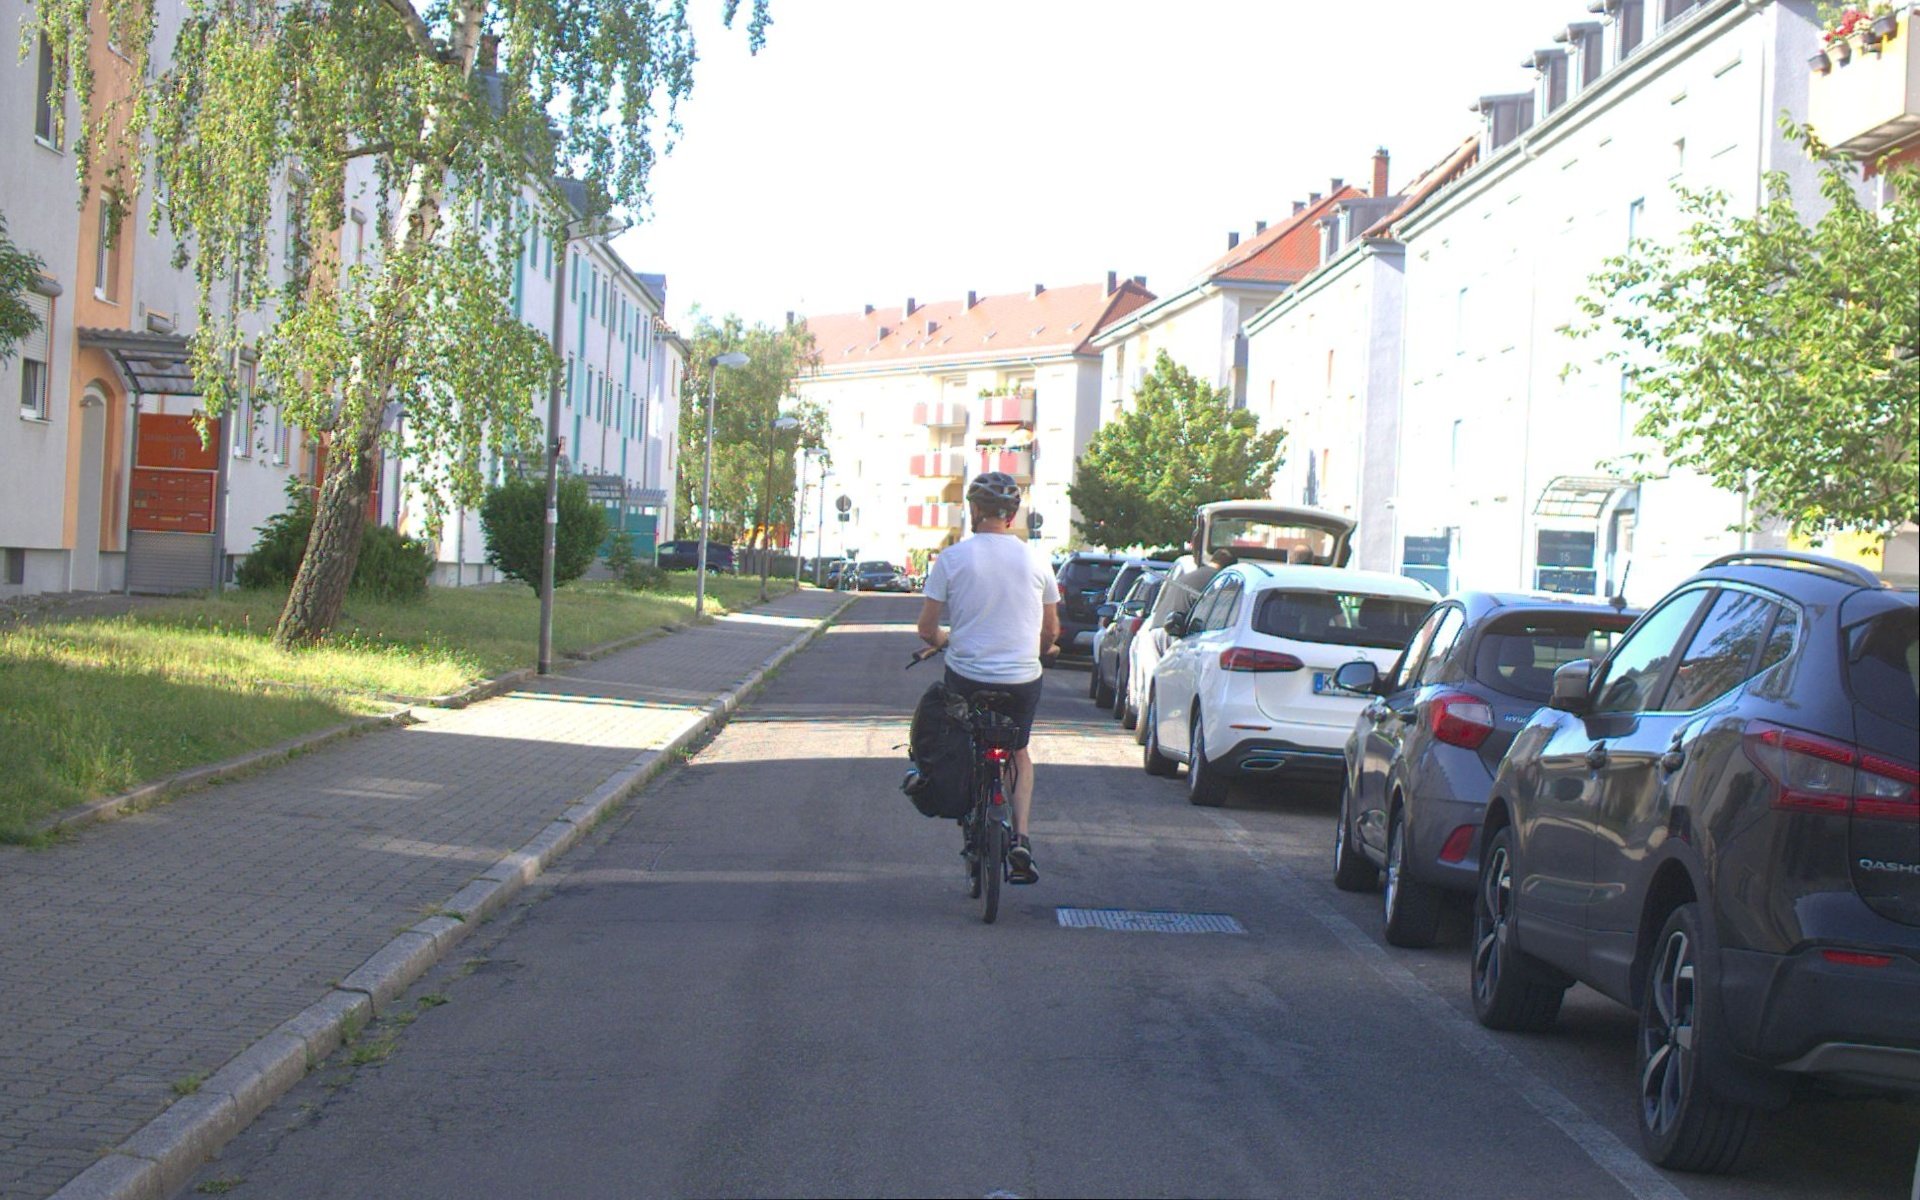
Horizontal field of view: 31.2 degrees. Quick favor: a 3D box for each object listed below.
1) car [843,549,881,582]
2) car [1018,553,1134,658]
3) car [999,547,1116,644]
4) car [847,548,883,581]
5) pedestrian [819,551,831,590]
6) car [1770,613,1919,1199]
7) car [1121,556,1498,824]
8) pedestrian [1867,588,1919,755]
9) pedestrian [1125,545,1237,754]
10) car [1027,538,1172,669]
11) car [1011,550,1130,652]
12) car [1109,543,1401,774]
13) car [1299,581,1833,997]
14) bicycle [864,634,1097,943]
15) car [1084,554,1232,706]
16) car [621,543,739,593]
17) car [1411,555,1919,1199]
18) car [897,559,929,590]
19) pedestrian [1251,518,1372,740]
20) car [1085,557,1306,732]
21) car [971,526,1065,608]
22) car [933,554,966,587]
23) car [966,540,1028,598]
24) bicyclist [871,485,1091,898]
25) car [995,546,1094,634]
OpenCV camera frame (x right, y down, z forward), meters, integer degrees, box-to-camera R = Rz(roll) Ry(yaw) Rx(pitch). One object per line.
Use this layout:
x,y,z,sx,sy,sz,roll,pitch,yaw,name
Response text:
-4.144,-1.476,144.970,1.469,1.331,3.141,2,1,-3,car
1.786,0.057,53.958,1.641,1.493,4.156,3,1,0,car
1.828,-0.112,65.617,1.750,1.612,4.452,5,1,-3,car
-4.150,-1.553,149.965,1.469,1.331,3.141,2,1,-3,car
-5.554,-1.220,141.758,0.434,1.569,0.543,2,0,-1,pedestrian
2.535,0.885,4.835,1.713,1.504,3.854,6,1,-2,car
2.214,0.516,22.967,1.772,1.499,4.481,4,1,-3,car
8.530,0.649,31.189,0.450,1.490,0.360,2,-1,0,pedestrian
1.714,0.374,26.721,0.739,1.569,0.880,2,1,-1,pedestrian
1.939,0.017,48.860,1.783,1.642,4.469,4,1,0,car
1.877,-0.023,59.565,1.690,1.569,4.435,4,1,-2,car
2.362,0.411,28.750,1.994,1.607,4.995,5,1,1,car
2.518,0.710,15.190,1.647,1.444,4.060,5,1,2,car
0.051,0.745,14.401,0.808,1.124,2.102,2,1,-3,bicycle
2.225,0.307,38.686,1.480,1.524,2.940,5,1,3,car
-10.331,-1.200,126.810,4.231,1.633,1.583,3,1,-4,car
2.537,0.686,9.947,1.723,1.573,4.353,2,1,-2,car
-2.414,-1.311,174.742,1.469,1.511,3.077,2,1,-3,car
2.726,0.220,26.704,0.819,1.681,0.604,2,1,-1,pedestrian
2.281,0.394,34.212,1.693,1.486,3.985,5,1,-2,car
1.291,-0.746,78.251,1.862,1.662,4.127,5,1,-1,car
-0.505,-1.397,161.839,1.381,1.492,3.077,2,1,-3,car
1.202,-1.032,112.938,1.674,1.733,3.943,4,1,-3,car
0.072,0.365,14.301,0.808,1.638,0.899,2,1,-3,bicyclist
1.705,-0.237,70.823,1.712,1.590,4.398,6,1,-1,car
